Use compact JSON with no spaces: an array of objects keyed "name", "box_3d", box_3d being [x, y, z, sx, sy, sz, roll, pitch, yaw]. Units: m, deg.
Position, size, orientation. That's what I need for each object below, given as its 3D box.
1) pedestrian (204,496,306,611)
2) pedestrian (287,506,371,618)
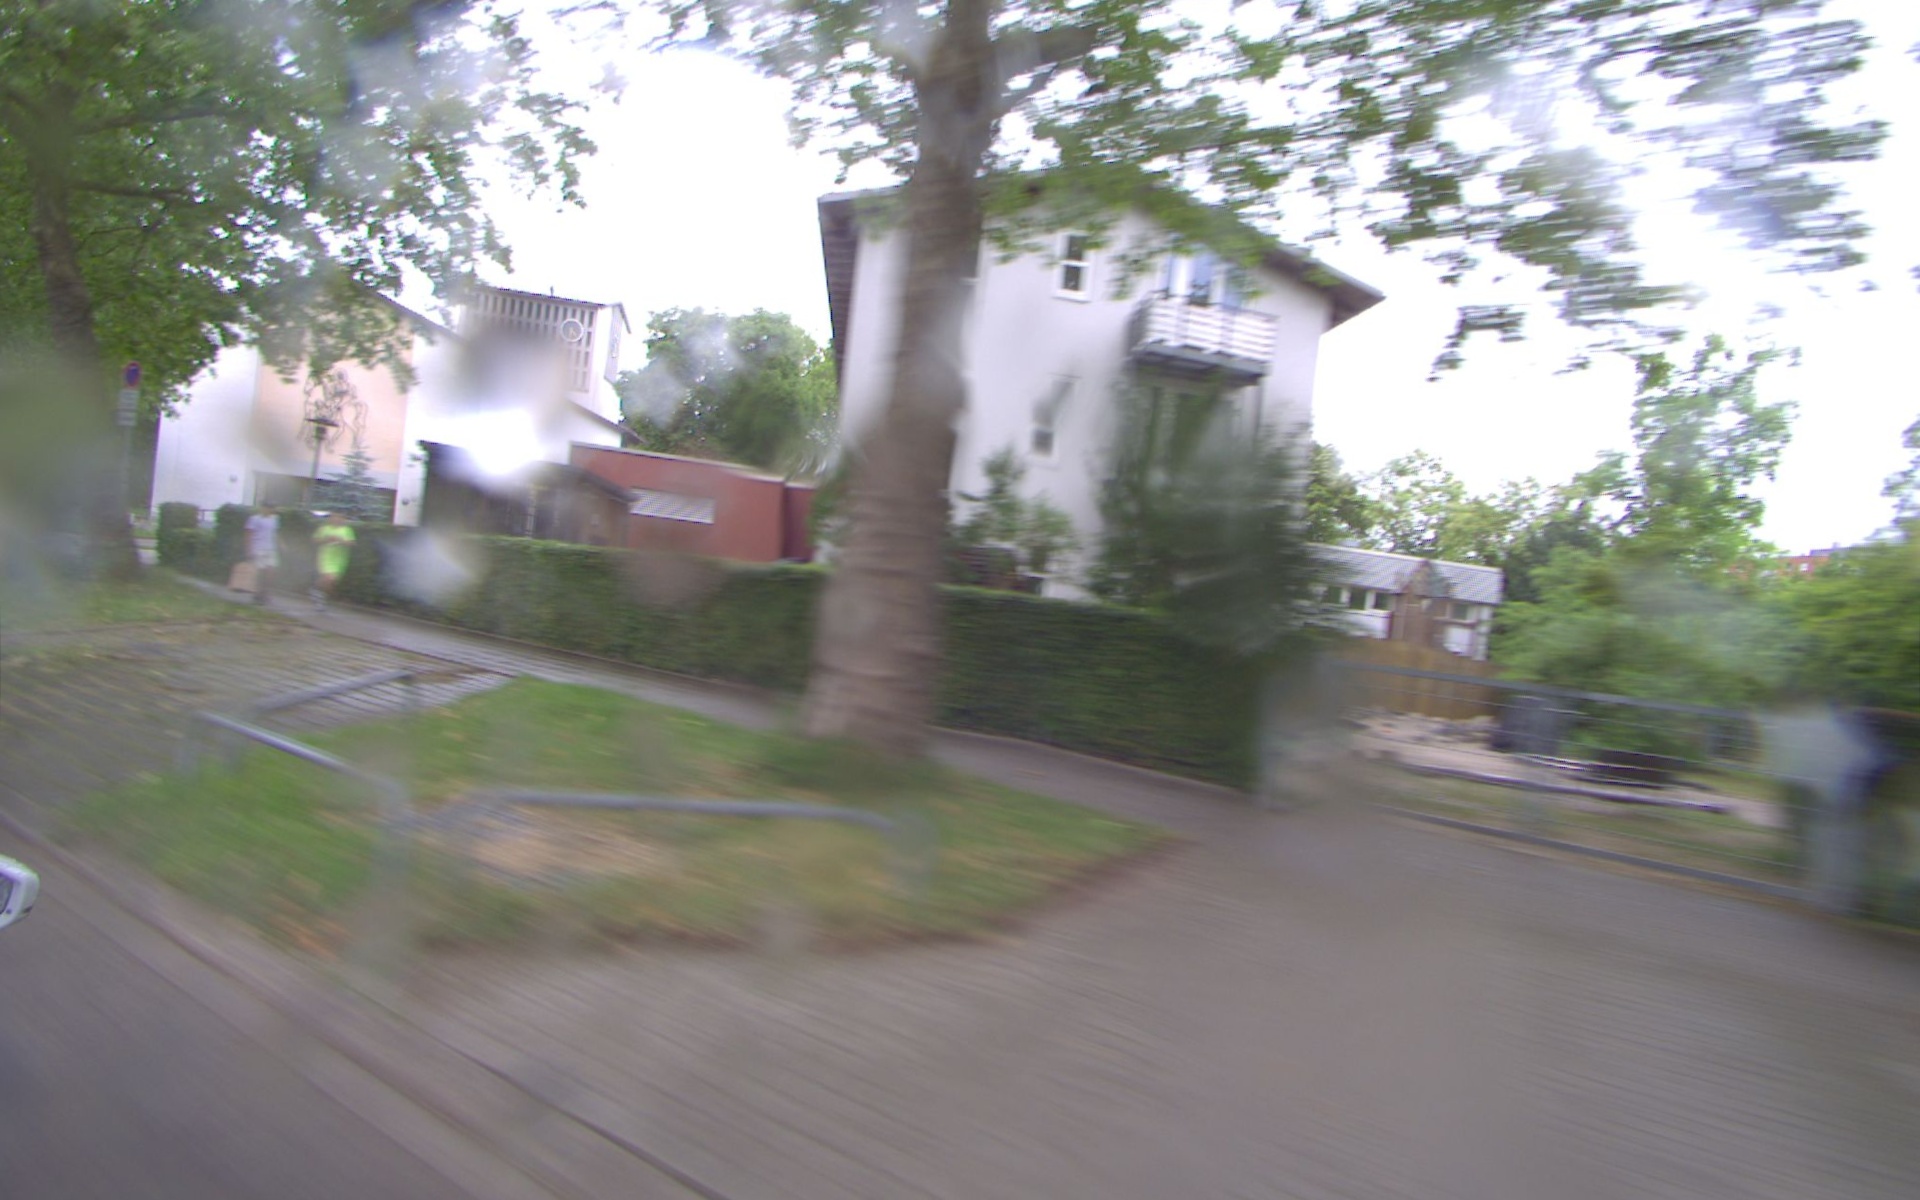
[{"name":"pedestrian","box_3d":[-10.406,-0.678,14.859,0.845,1.558,0.834,7,2,27]},{"name":"pedestrian","box_3d":[-9.524,-0.571,15.188,0.950,1.558,0.557,7,1,28]}]
